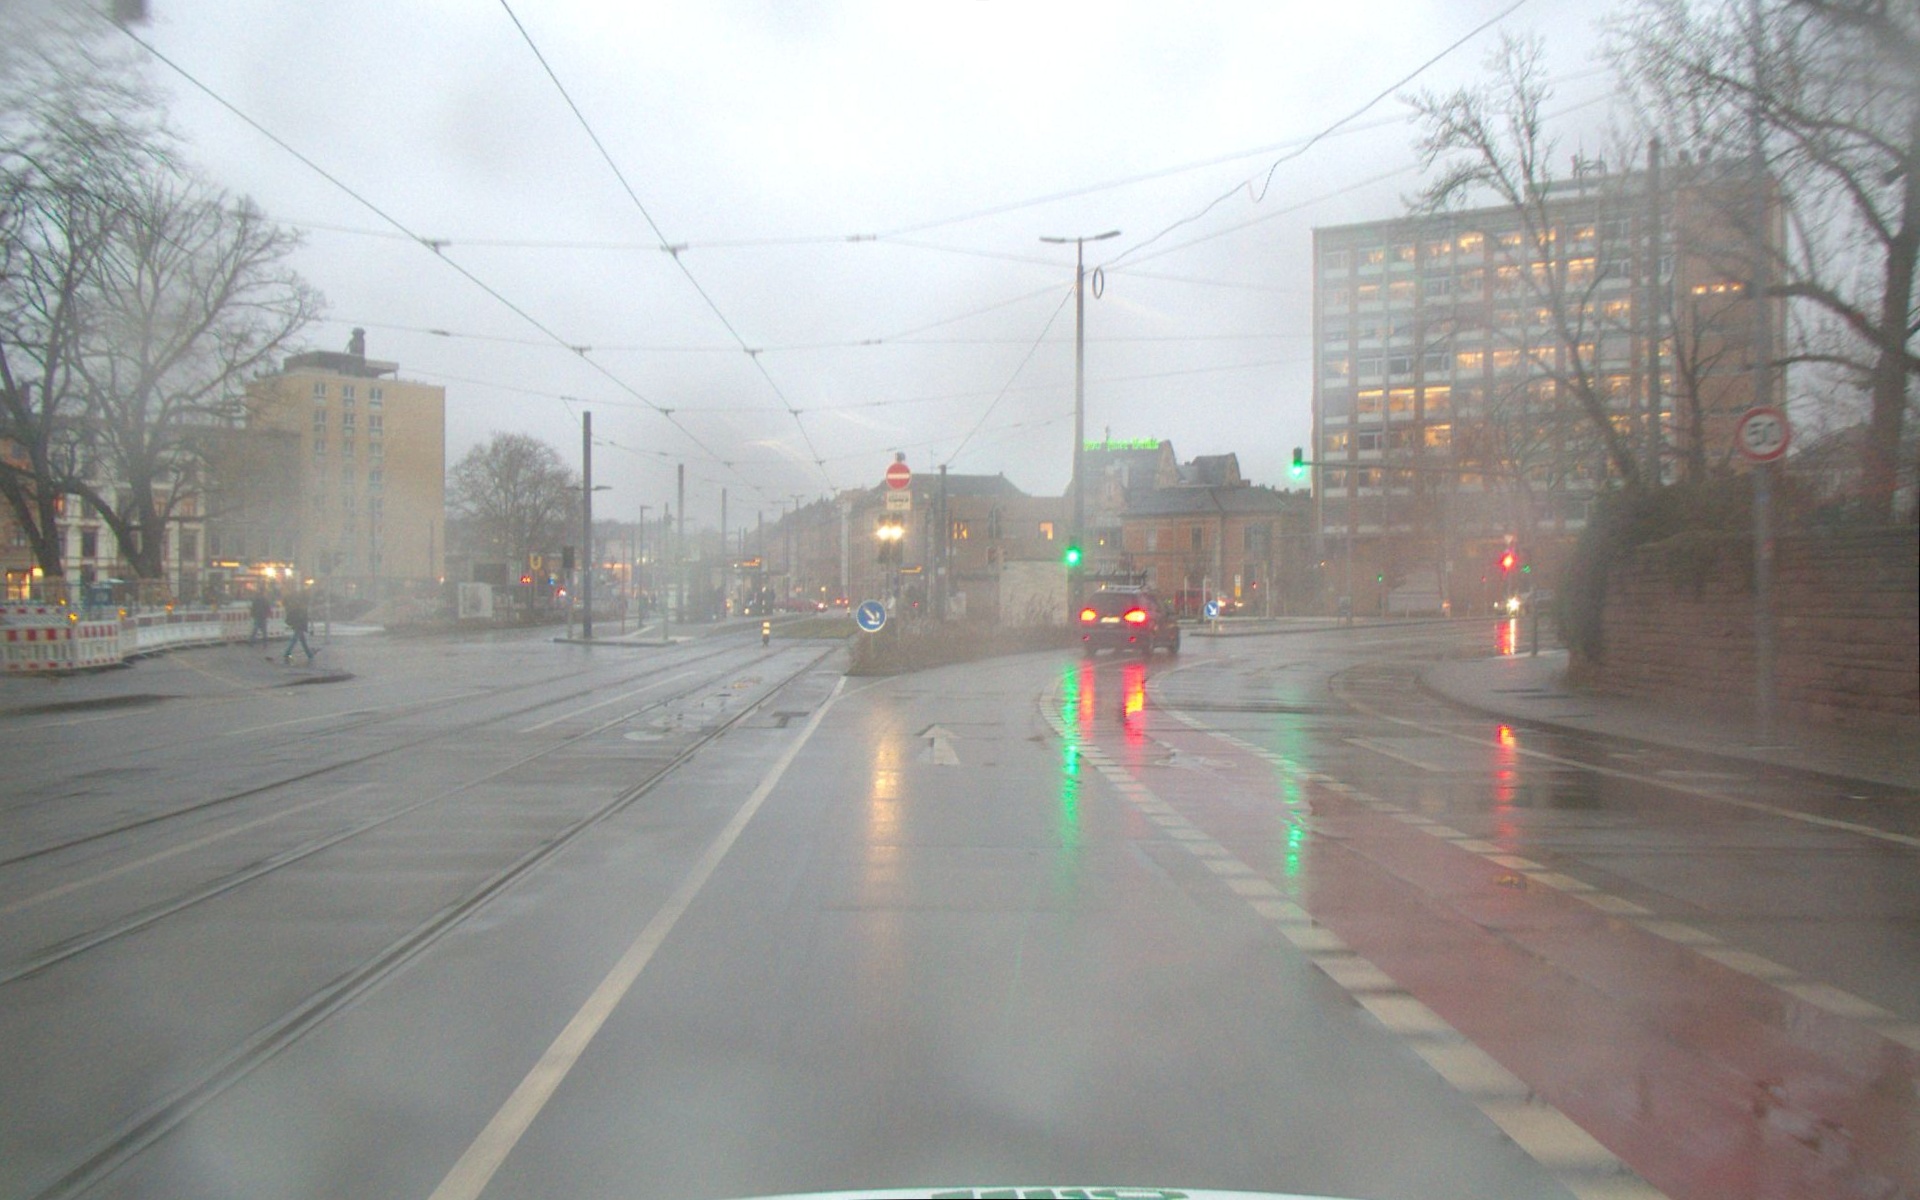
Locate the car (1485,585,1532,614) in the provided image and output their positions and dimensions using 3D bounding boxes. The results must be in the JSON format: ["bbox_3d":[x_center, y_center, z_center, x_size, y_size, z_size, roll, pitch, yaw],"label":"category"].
[{"bbox_3d":[33.440,-0.058,100.725,1.722,1.691,4.519,-1,0,32],"label":"car"}]

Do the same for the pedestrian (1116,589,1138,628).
[{"bbox_3d":[7.409,0.390,73.416,0.662,1.703,0.727,2,-1,36],"label":"pedestrian"}]

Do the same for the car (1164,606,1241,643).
[{"bbox_3d":[16.771,1.708,114.597,2.237,2.321,4.965,3,-1,-40],"label":"car"}]

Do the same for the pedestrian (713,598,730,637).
[{"bbox_3d":[-11.349,0.832,78.762,0.698,1.838,0.717,1,-1,-1],"label":"pedestrian"}]

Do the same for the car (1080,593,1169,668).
[{"bbox_3d":[4.498,0.764,44.744,1.612,1.850,4.003,2,1,17],"label":"car"}]

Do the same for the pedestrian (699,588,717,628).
[{"bbox_3d":[-11.658,0.373,76.557,0.698,1.788,0.717,1,-1,-1],"label":"pedestrian"}]

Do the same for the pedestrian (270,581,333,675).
[{"bbox_3d":[-17.187,0.732,43.193,0.975,2.412,1.063,2,-1,29],"label":"pedestrian"}]
